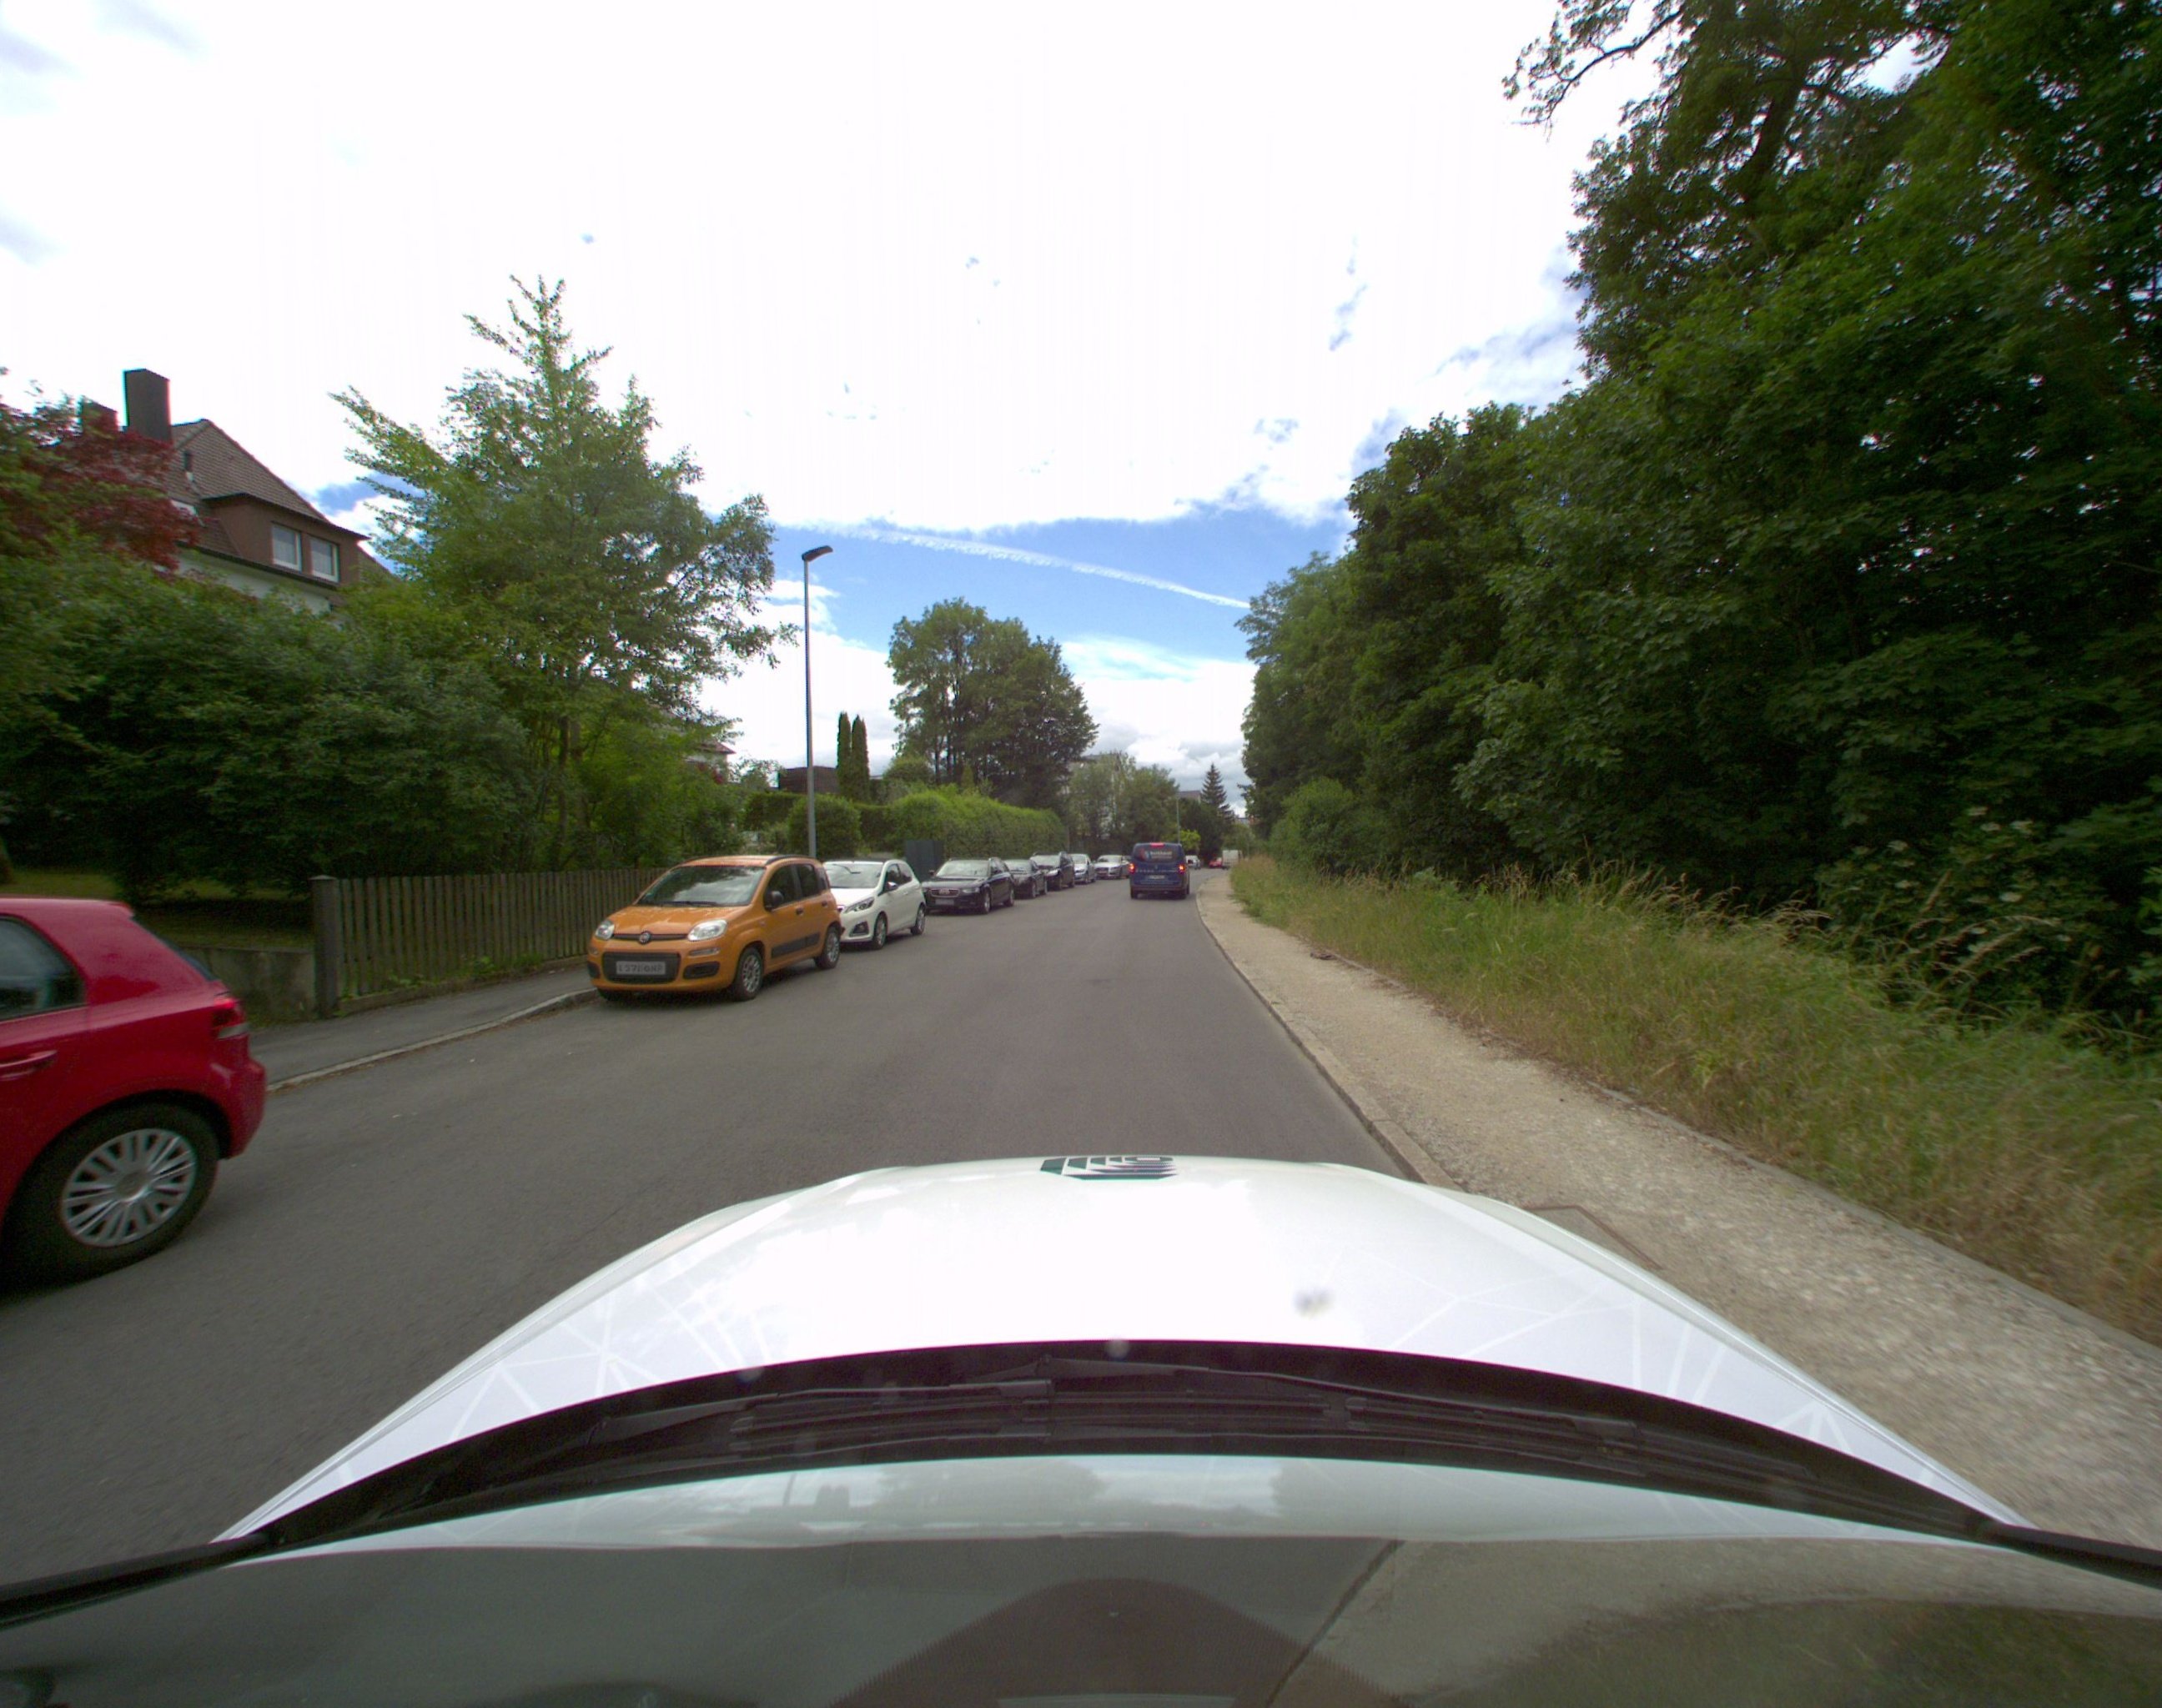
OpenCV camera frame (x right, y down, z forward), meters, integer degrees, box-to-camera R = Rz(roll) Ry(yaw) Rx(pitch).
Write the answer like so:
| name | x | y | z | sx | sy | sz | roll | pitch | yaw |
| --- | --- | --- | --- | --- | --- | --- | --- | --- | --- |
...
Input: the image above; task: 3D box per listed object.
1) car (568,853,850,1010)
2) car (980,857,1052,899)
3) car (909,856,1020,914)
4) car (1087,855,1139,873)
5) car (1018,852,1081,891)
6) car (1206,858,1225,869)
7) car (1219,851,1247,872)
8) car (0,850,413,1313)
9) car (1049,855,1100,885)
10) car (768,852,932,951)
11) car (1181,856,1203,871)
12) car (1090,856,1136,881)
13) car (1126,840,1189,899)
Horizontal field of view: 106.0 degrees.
| name | x | y | z | sx | sy | sz | roll | pitch | yaw |
| --- | --- | --- | --- | --- | --- | --- | --- | --- | --- |
| car | -4.141 | 0.757 | 9.738 | 1.537 | 1.514 | 3.647 | -1 | 0 | 3 |
| car | -2.189 | 0.776 | 28.294 | 1.702 | 1.341 | 4.116 | 0 | 0 | 7 |
| car | -2.981 | 0.753 | 21.884 | 1.709 | 1.385 | 4.673 | -1 | 0 | 8 |
| car | 2.546 | 0.791 | 65.412 | 4.151 | 1.447 | 1.741 | 0 | -1 | 1 |
| car | -1.250 | 0.688 | 34.023 | 1.646 | 1.533 | 4.488 | 0 | 0 | 11 |
| car | 17.131 | 1.173 | 103.609 | 1.621 | 1.405 | 4.020 | -1 | -1 | 20 |
| car | 15.734 | 0.724 | 84.106 | 2.189 | 2.064 | 6.161 | -1 | -1 | 16 |
| car | -4.428 | 0.754 | 2.069 | 1.700 | 1.514 | 4.367 | -1 | 0 | 3 |
| car | -0.258 | 0.719 | 39.352 | 1.764 | 1.374 | 4.351 | 0 | 0 | 9 |
| car | -3.875 | 0.730 | 14.285 | 1.581 | 1.514 | 3.595 | -1 | 0 | 5 |
| car | 11.479 | 0.975 | 84.230 | 1.692 | 1.468 | 4.093 | 0 | -1 | 16 |
| car | 1.892 | 0.803 | 47.162 | 1.818 | 1.374 | 4.461 | 0 | 0 | 13 |
| car | 2.760 | 0.508 | 28.646 | 1.925 | 1.880 | 4.541 | -1 | 0 | 8 |
